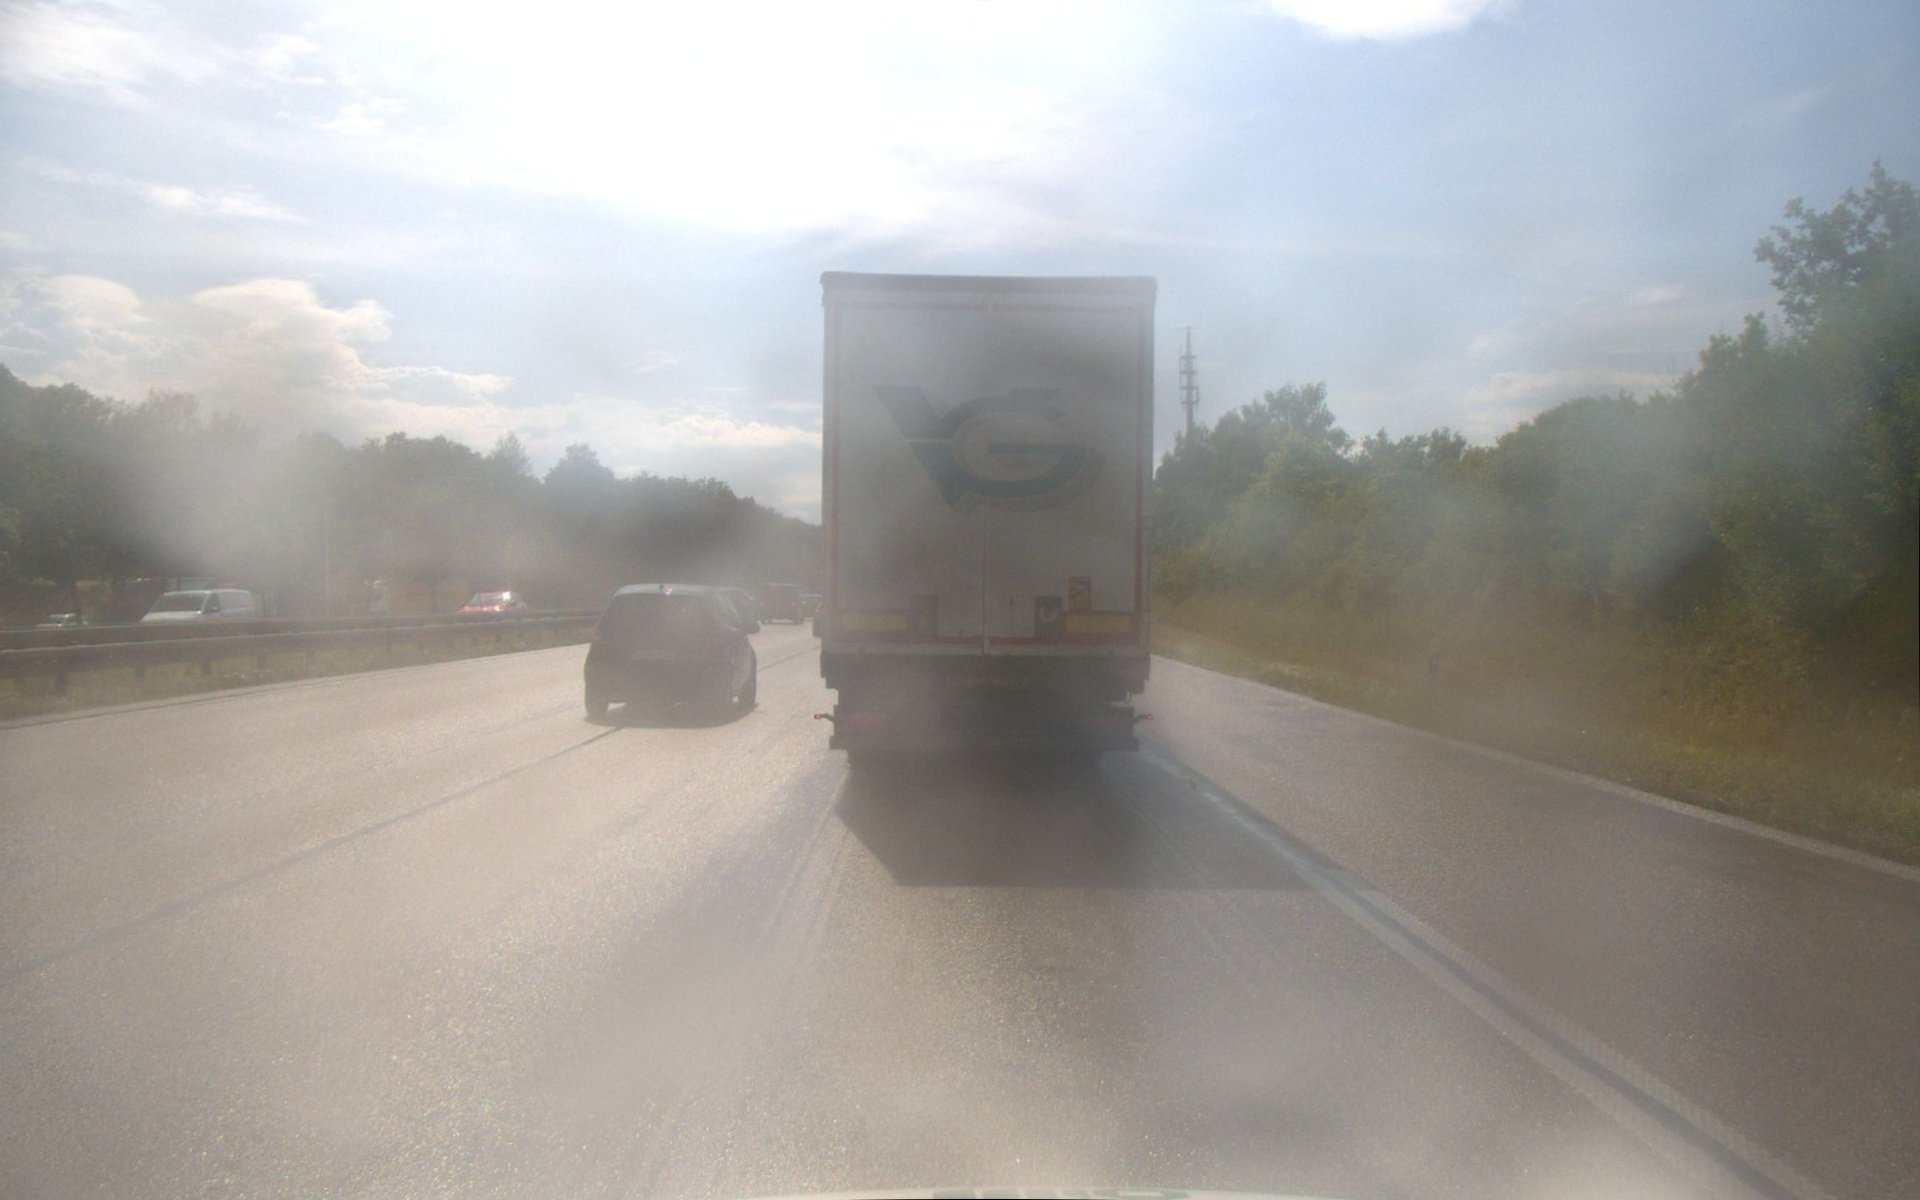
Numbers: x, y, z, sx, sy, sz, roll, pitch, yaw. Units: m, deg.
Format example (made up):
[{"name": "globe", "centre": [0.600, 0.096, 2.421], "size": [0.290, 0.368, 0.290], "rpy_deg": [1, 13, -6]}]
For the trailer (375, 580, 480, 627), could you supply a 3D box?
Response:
[{"name": "trailer", "centre": [-49.447, 0.342, 154.125], "size": [3.707, 4.189, 11.735], "rpy_deg": [1, 0, 13]}]

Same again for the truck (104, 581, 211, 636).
[{"name": "truck", "centre": [-56.024, 0.602, 115.689], "size": [3.708, 3.724, 6.709], "rpy_deg": [1, 0, 5]}]

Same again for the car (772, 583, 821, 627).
[{"name": "car", "centre": [-8.178, 0.255, 82.954], "size": [1.938, 2.090, 4.756], "rpy_deg": [1, 0, 0]}]

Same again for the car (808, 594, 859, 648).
[{"name": "car", "centre": [-4.558, 0.751, 59.894], "size": [1.658, 1.836, 3.974], "rpy_deg": [1, 0, -2]}]

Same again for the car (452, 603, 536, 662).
[{"name": "car", "centre": [-17.321, 1.166, 61.643], "size": [1.793, 2.081, 4.778], "rpy_deg": [1, 0, -1]}]

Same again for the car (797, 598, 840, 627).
[{"name": "car", "centre": [-7.896, 0.693, 92.569], "size": [1.952, 1.592, 4.756], "rpy_deg": [1, 0, 0]}]

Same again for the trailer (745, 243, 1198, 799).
[{"name": "trailer", "centre": [-0.053, -0.592, 19.103], "size": [3.217, 3.967, 14.125], "rpy_deg": [1, 0, -1]}]

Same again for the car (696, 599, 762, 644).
[{"name": "car", "centre": [-8.910, 0.806, 64.058], "size": [1.869, 1.665, 4.616], "rpy_deg": [0, 0, 0]}]

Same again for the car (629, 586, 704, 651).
[{"name": "car", "centre": [-8.786, 0.549, 49.821], "size": [1.658, 1.836, 3.974], "rpy_deg": [1, 0, -2]}]

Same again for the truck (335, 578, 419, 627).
[{"name": "truck", "centre": [-51.339, 0.260, 145.900], "size": [3.707, 4.189, 7.051], "rpy_deg": [1, 0, 13]}]

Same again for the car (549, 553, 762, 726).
[{"name": "car", "centre": [-3.831, 0.475, 21.670], "size": [2.230, 1.989, 4.816], "rpy_deg": [1, 0, -5]}]

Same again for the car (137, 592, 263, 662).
[{"name": "car", "centre": [-23.951, 0.832, 52.302], "size": [1.793, 2.081, 4.778], "rpy_deg": [1, 0, -1]}]
